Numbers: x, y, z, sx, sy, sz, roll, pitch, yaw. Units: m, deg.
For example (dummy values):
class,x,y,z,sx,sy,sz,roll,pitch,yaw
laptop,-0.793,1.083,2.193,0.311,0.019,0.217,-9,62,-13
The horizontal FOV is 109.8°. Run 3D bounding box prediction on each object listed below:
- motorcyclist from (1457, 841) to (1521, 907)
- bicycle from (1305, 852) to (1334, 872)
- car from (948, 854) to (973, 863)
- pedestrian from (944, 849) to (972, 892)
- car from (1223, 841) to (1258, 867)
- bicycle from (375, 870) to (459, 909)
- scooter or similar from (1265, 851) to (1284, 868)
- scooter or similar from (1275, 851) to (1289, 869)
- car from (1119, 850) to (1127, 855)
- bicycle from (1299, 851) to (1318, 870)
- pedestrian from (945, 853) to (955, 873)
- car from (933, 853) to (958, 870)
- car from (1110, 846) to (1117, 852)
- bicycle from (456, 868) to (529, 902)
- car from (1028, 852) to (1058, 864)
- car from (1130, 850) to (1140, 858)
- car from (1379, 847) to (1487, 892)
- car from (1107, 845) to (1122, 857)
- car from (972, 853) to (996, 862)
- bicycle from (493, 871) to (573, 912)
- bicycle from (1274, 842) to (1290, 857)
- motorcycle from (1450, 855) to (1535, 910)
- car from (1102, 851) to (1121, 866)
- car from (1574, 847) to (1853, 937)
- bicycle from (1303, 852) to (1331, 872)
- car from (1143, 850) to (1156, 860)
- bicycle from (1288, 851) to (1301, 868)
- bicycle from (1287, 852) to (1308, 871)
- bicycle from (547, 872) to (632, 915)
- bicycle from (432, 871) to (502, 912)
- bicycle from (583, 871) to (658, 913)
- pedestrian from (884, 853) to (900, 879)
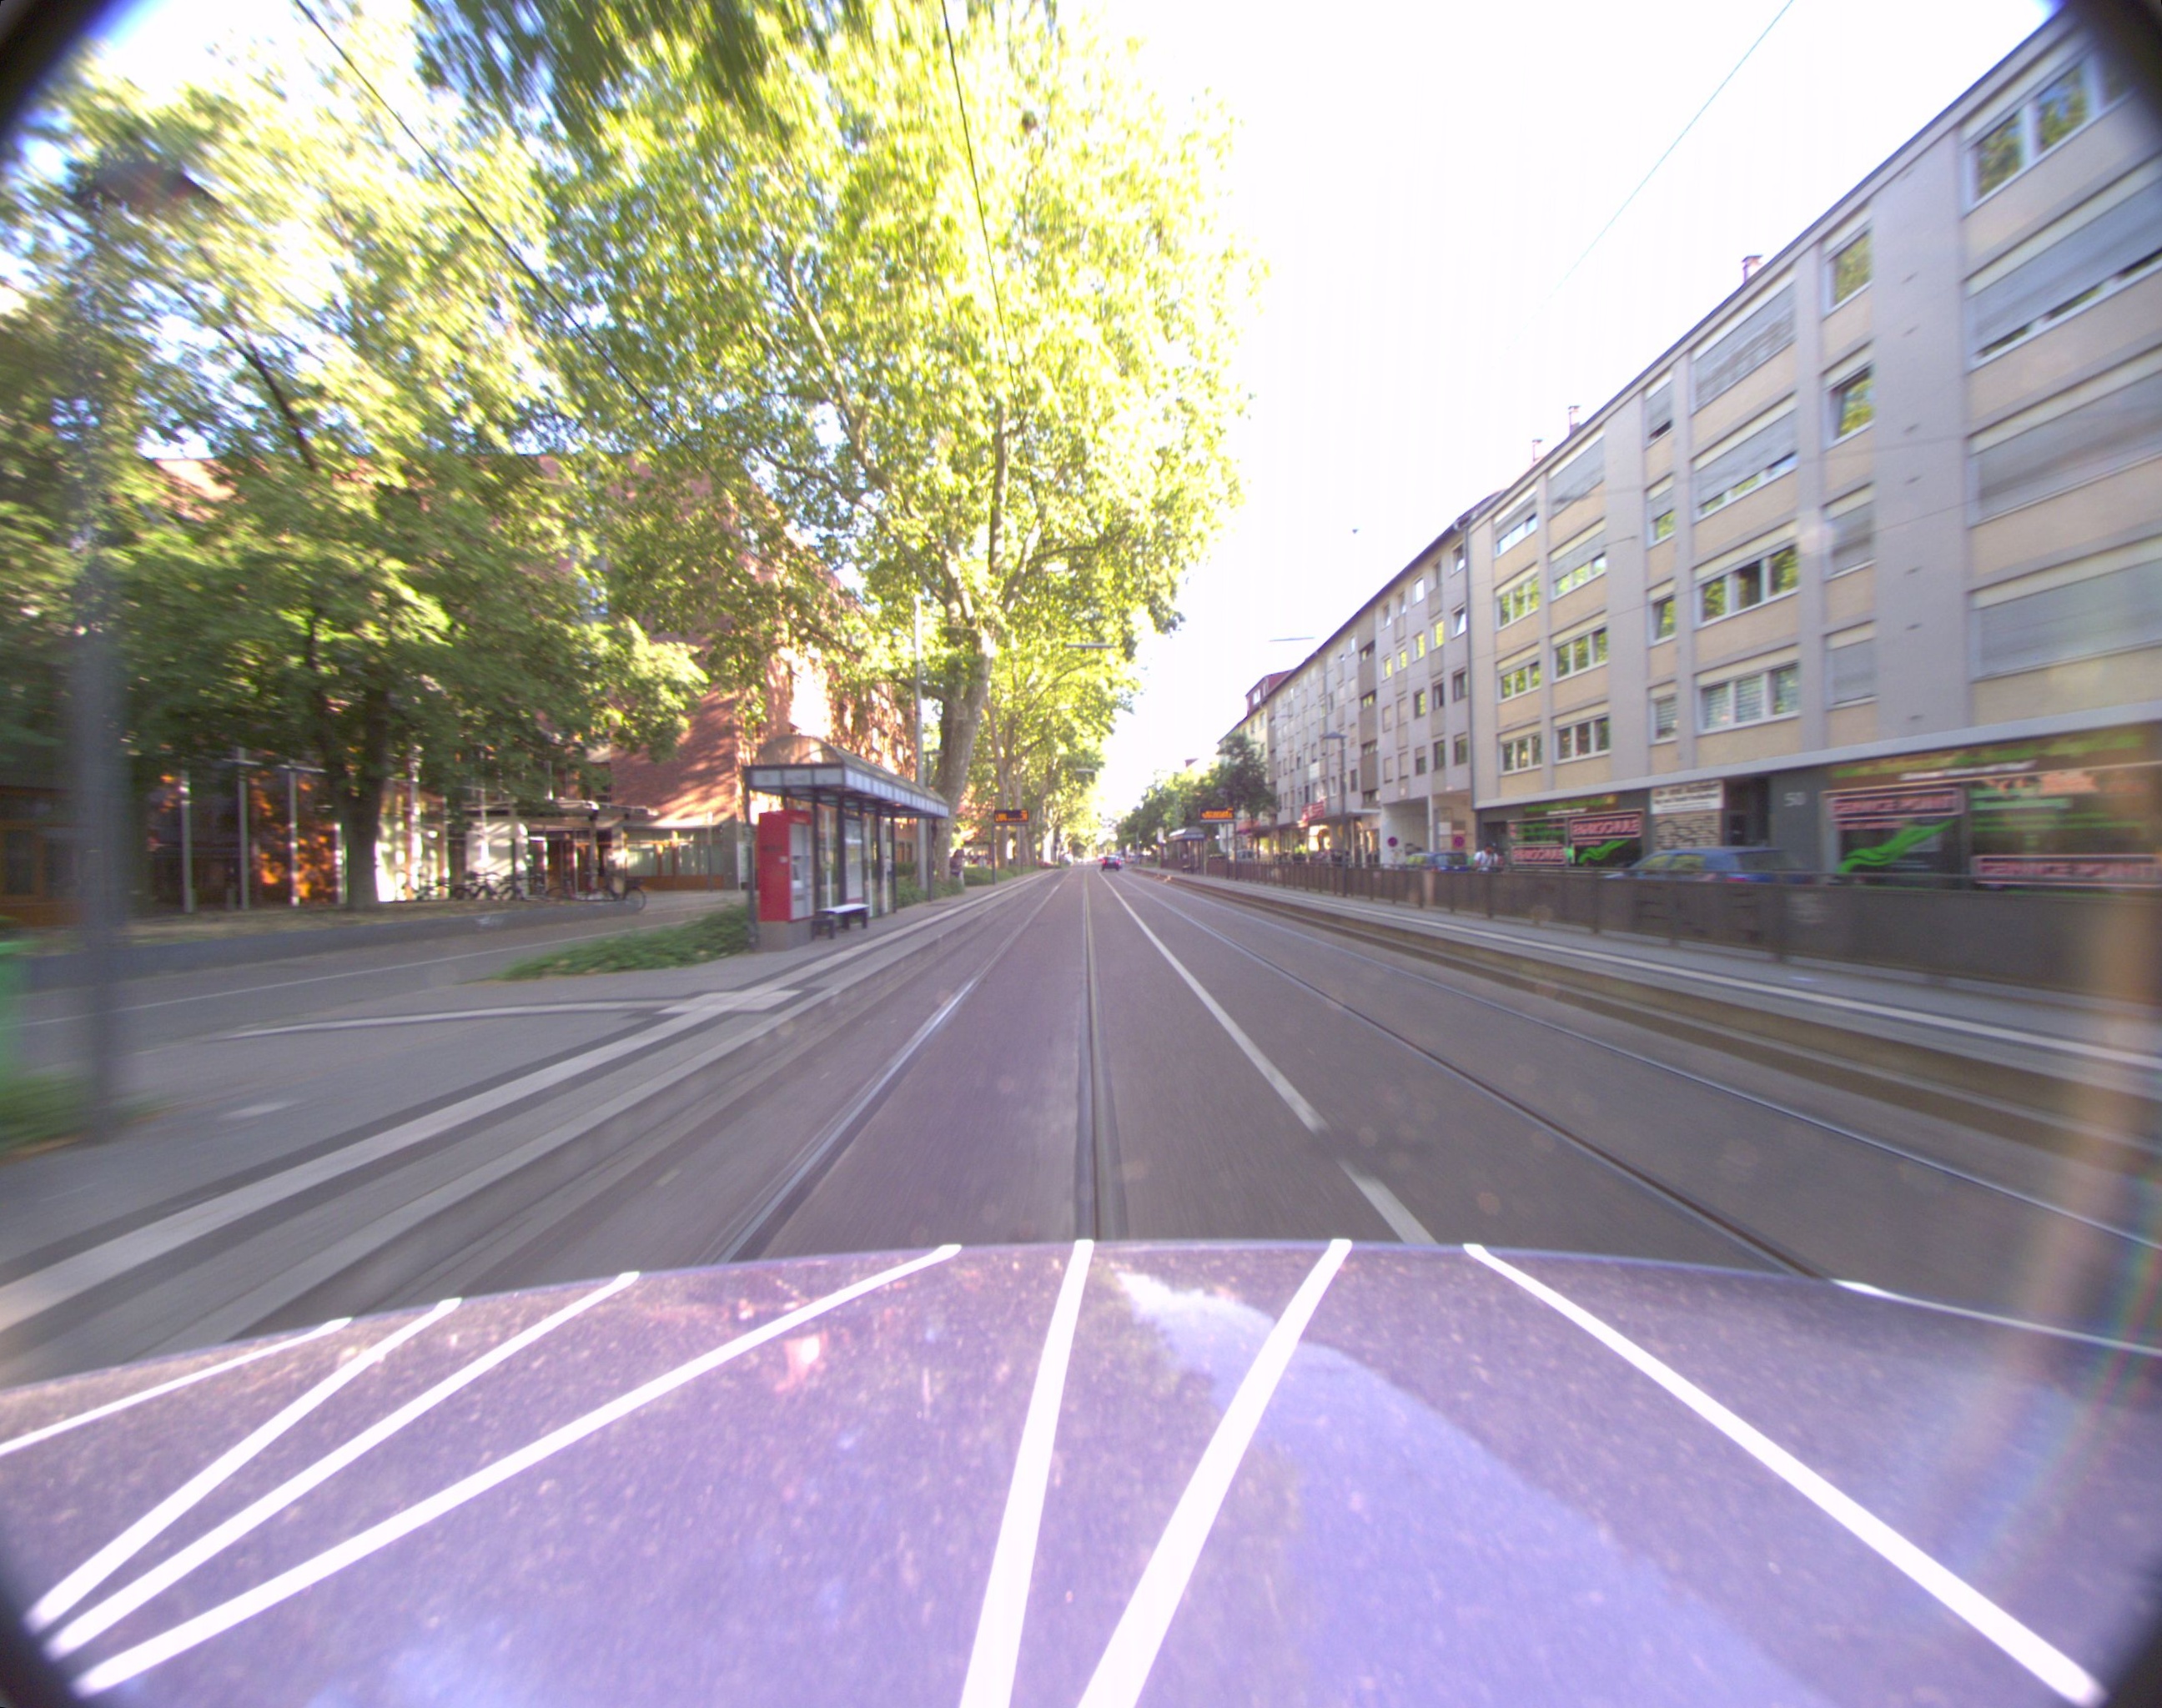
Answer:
class,x,y,z,sx,sy,sz,roll,pitch,yaw
motorcyclist,9.101,0.430,16.981,0.876,1.432,1.016,-1,1,0
bicycle,13.875,0.446,44.254,0.561,1.150,2.028,-1,0,-15
car,-19.983,0.714,126.042,3.675,1.521,2.000,-1,0,1
pedestrian,-4.778,0.632,29.489,0.770,1.650,0.915,-1,1,-29
car,12.516,0.002,59.904,1.808,1.923,4.049,-1,0,-1
bicycle,-21.259,1.113,24.381,0.707,1.150,2.039,1,1,10
scooter or similar,13.151,0.368,51.601,0.447,1.167,1.272,-1,1,-36
scooter or similar,13.284,0.402,50.283,0.446,1.167,1.274,-1,0,-5
car,11.768,-0.415,211.005,1.999,1.521,3.677,-1,0,0
bicycle,13.881,0.393,46.408,0.494,1.150,1.751,-1,0,-5
pedestrian,-10.936,0.723,63.536,0.711,1.681,0.748,-1,1,-1
car,-12.860,0.687,72.350,1.657,1.499,3.961,-1,0,0
car,10.806,-1.600,252.290,1.999,1.741,3.677,-1,0,0
bicycle,-21.054,1.087,27.240,1.953,1.150,0.732,0,1,-25
car,-5.133,0.575,101.906,3.872,1.521,2.000,-1,0,1
car,11.235,-0.049,159.458,1.998,1.521,3.678,-1,0,3
car,12.135,0.483,26.505,1.799,1.455,4.281,0,0,0
car,4.142,-0.410,95.309,1.766,1.417,4.000,-1,0,0
car,-16.079,0.566,125.991,3.675,1.521,2.000,-1,0,1
bicycle,-16.093,1.097,22.320,2.035,1.150,0.572,1,1,6
bicycle,16.202,-0.364,61.203,0.572,1.150,2.036,-1,0,-5
motorcycle,9.116,0.600,16.930,0.851,1.157,1.915,-1,0,0
car,3.177,0.454,80.741,1.766,1.579,3.999,-1,0,-1
car,12.277,0.639,15.239,1.961,1.535,4.388,0,0,0
bicycle,13.628,0.461,43.885,0.561,1.150,2.028,-1,0,-15
car,11.202,0.166,124.628,1.998,1.521,3.678,-1,0,3
bicycle,14.270,0.370,50.835,0.513,1.150,1.687,-1,0,3
bicycle,13.751,0.475,48.338,0.572,1.150,2.036,-1,0,-5
bicycle,-13.897,1.111,21.499,2.036,1.150,0.572,1,1,1
bicycle,-18.061,1.094,22.376,1.681,1.150,0.572,1,1,6
bicycle,-13.562,1.104,22.376,2.034,1.150,0.572,1,1,10
pedestrian,-12.068,0.775,48.436,0.768,1.650,0.917,-1,1,0
